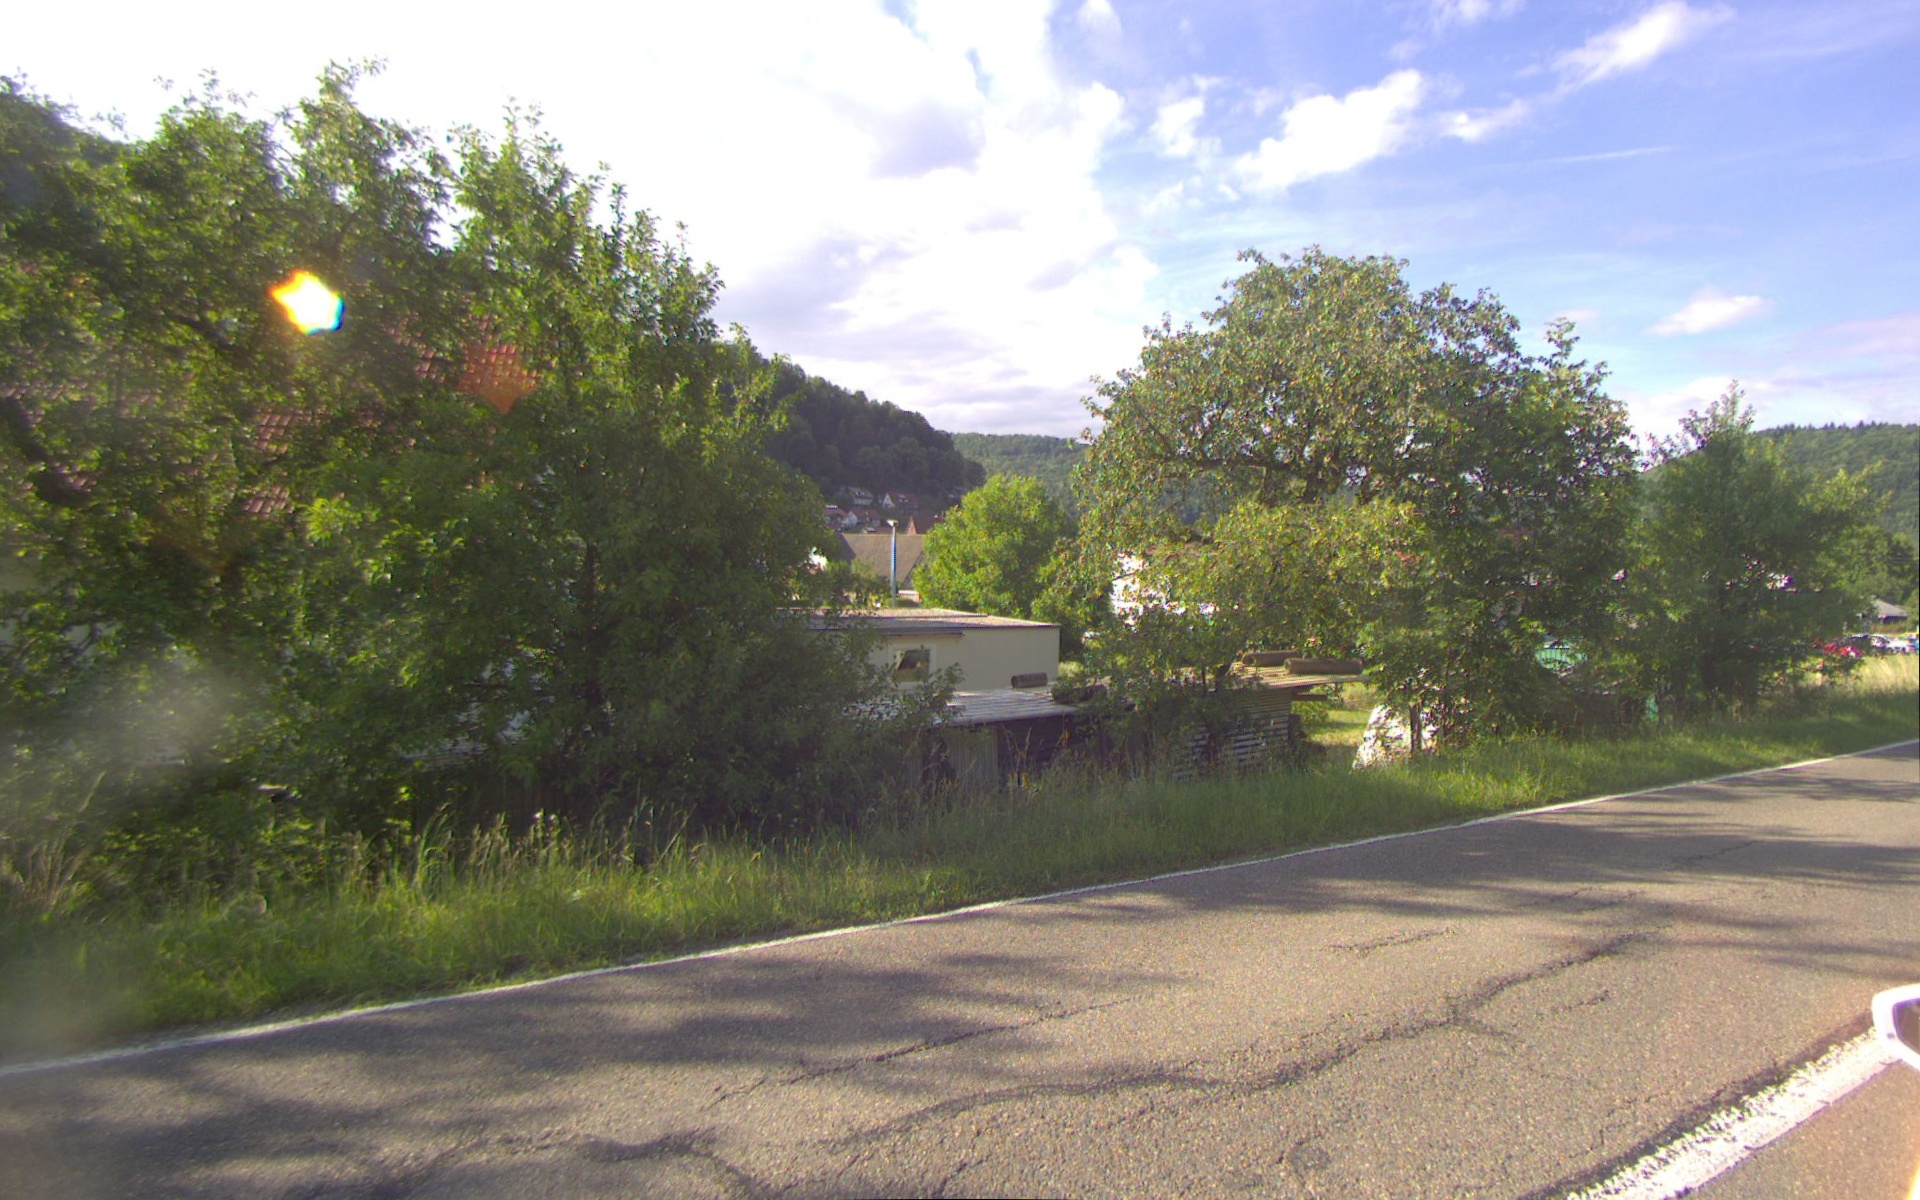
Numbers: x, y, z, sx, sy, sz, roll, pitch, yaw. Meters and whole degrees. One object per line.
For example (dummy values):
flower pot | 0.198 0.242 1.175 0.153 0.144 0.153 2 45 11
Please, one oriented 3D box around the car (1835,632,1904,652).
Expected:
car | 77.160 3.553 85.279 1.762 1.574 3.967 2 0 -31

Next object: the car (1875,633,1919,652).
car | 84.996 3.834 90.063 1.762 1.574 3.967 2 0 -31

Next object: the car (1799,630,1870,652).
car | 70.242 3.302 80.740 1.762 1.574 3.967 2 0 -31

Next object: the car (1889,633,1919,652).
car | 87.140 3.909 91.068 1.762 1.574 3.967 2 0 -31

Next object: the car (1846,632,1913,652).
car | 79.691 3.645 87.095 1.762 1.574 3.967 2 0 -31

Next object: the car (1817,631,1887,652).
car | 73.687 3.427 83.059 1.762 1.574 3.967 2 0 -31
